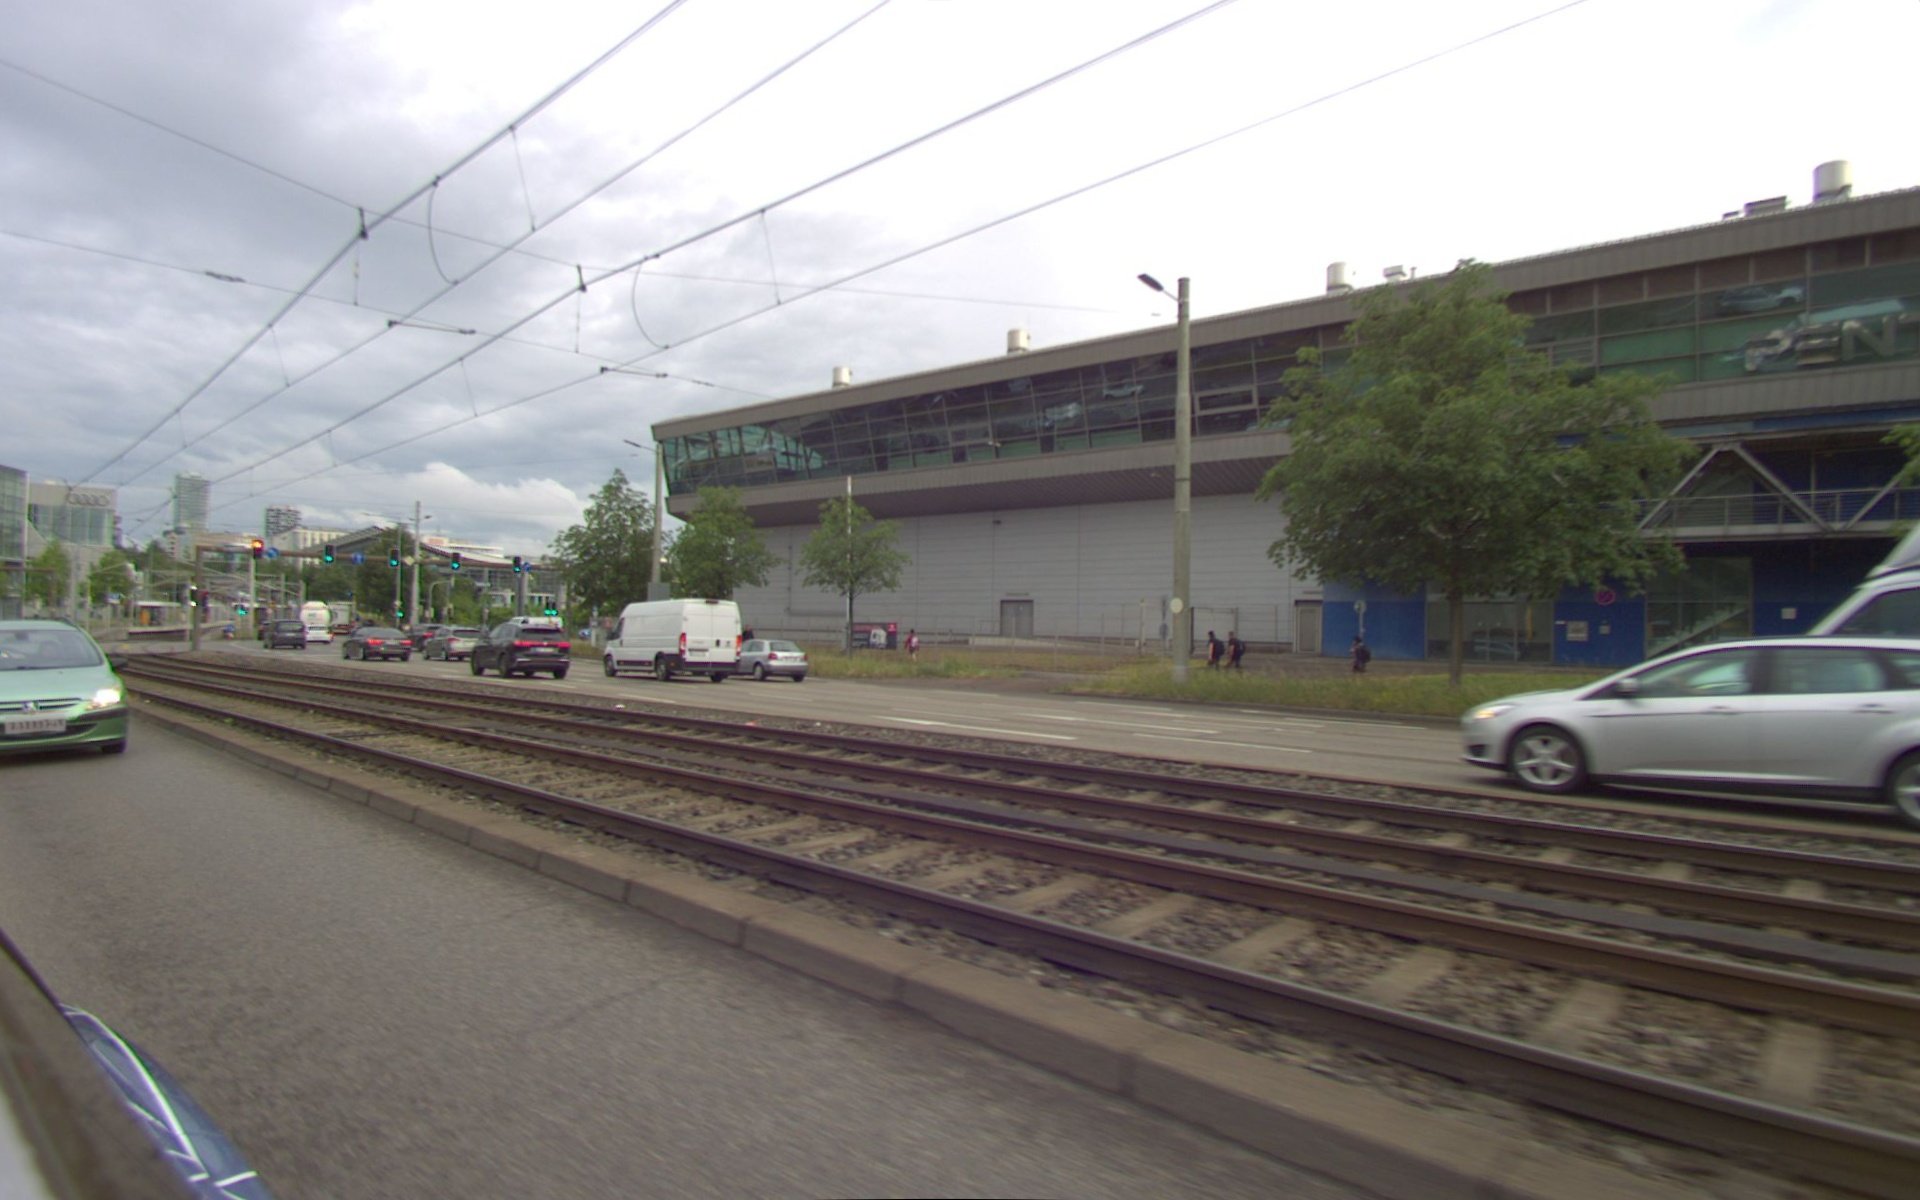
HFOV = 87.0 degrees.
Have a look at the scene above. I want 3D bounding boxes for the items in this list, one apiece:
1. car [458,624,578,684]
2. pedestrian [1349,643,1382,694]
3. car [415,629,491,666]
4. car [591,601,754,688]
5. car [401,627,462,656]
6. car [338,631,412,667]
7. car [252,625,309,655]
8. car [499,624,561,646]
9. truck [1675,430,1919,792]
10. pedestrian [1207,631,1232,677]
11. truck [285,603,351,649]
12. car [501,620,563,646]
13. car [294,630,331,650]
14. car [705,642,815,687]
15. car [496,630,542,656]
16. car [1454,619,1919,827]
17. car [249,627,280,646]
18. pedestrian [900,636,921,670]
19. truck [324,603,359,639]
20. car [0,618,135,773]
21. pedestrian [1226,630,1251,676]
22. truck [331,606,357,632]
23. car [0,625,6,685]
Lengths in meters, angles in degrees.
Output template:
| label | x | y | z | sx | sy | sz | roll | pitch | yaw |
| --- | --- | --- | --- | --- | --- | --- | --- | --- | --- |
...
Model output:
| label | x | y | z | sx | sy | sz | roll | pitch | yaw |
| --- | --- | --- | --- | --- | --- | --- | --- | --- | --- |
| car | -13.484 | 1.639 | 30.786 | 1.886 | 1.669 | 4.364 | 5 | -5 | -44 |
| pedestrian | 12.016 | 2.005 | 29.960 | 0.744 | 1.450 | 0.601 | -1 | 0 | 39 |
| car | -24.042 | 2.244 | 47.925 | 1.917 | 1.684 | 4.512 | 4 | -4 | -44 |
| car | -9.352 | 1.425 | 32.405 | 2.402 | 2.519 | 6.557 | 4 | -4 | -41 |
| car | -31.824 | 2.479 | 60.921 | 4.475 | 1.696 | 1.971 | -2 | -3 | 45 |
| car | -26.250 | 2.168 | 45.335 | 1.923 | 1.496 | 5.001 | 3 | -3 | -41 |
| car | -41.845 | 2.461 | 62.322 | 4.680 | 1.745 | 1.971 | -2 | -4 | 45 |
| car | -37.560 | 3.098 | 88.490 | 1.997 | 1.849 | 4.605 | -1 | -3 | 37 |
| truck | 11.118 | 0.130 | 9.234 | 7.154 | 3.383 | 2.696 | -2 | -5 | 44 |
| pedestrian | 8.441 | 1.738 | 32.928 | 0.651 | 1.467 | 0.507 | -1 | 0 | 33 |
| truck | -56.033 | 2.343 | 88.183 | 4.025 | 3.785 | 10.877 | 2 | -3 | -36 |
| car | -39.343 | 3.081 | 93.213 | 1.993 | 2.350 | 5.009 | -1 | -3 | 31 |
| car | -47.111 | 2.903 | 73.610 | 1.772 | 1.457 | 3.929 | 2 | -3 | -40 |
| car | -6.862 | 2.174 | 34.480 | 1.728 | 1.410 | 4.002 | 5 | -5 | -45 |
| car | -32.473 | 3.162 | 74.577 | 1.789 | 1.839 | 3.873 | 1 | -3 | -3 |
| car | 6.912 | 0.988 | 8.735 | 4.443 | 1.510 | 1.785 | -2 | -6 | 45 |
| car | -59.937 | 3.161 | 87.184 | 1.793 | 1.586 | 4.007 | 2 | -3 | -40 |
| pedestrian | -2.286 | 2.426 | 46.617 | 0.542 | 1.509 | 0.759 | -1 | 0 | -44 |
| truck | -80.526 | 2.770 | 131.864 | 3.213 | 4.564 | 7.114 | 2 | -3 | -27 |
| car | -10.875 | 0.985 | 11.542 | 4.138 | 1.509 | 1.738 | -1 | 0 | 43 |
| pedestrian | 9.137 | 1.724 | 33.205 | 0.651 | 1.467 | 0.447 | -1 | 0 | 33 |
| truck | -103.349 | 3.178 | 169.830 | 3.330 | 4.171 | 7.652 | 2 | -3 | -30 |
| car | -26.684 | 1.468 | 26.799 | 3.713 | 1.556 | 1.739 | -1 | 0 | 42 |
